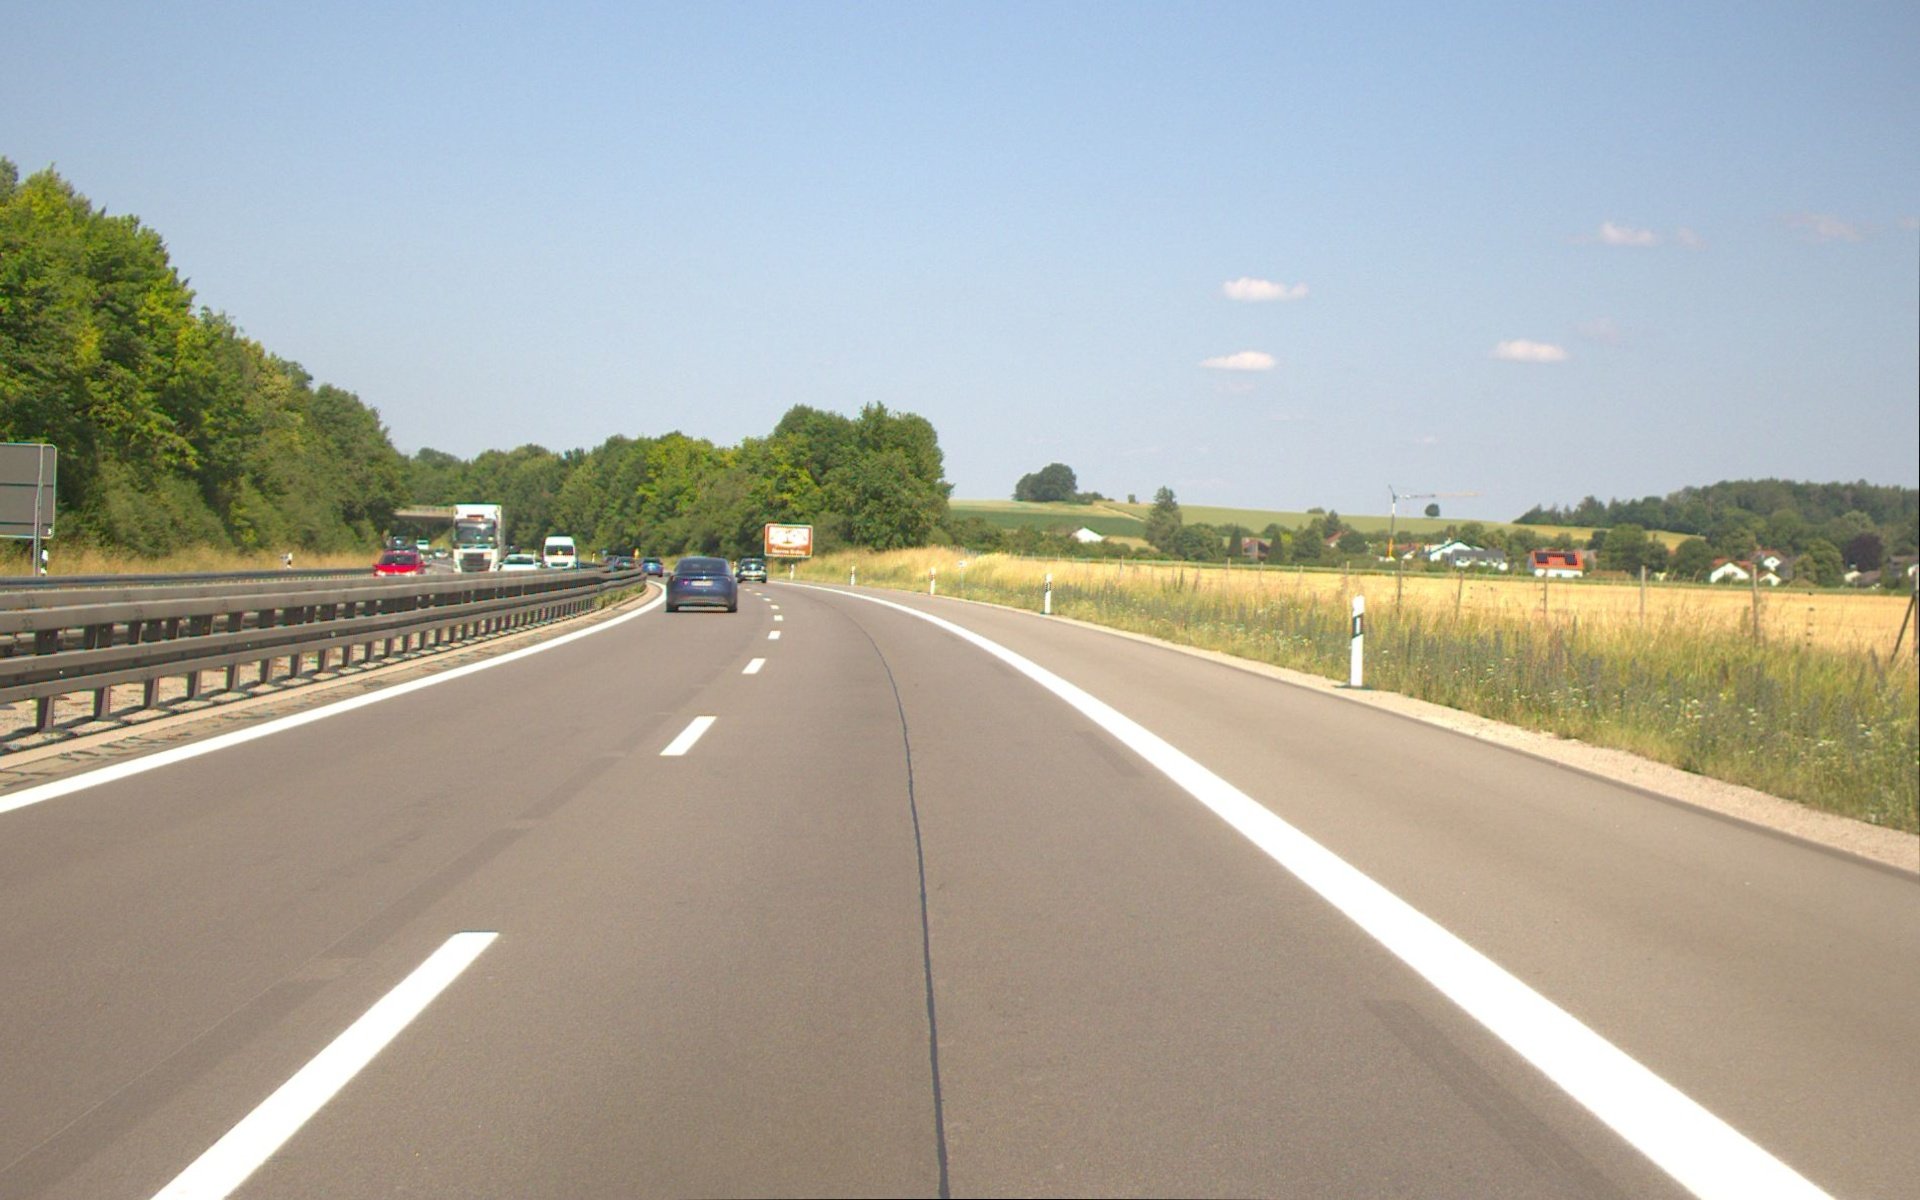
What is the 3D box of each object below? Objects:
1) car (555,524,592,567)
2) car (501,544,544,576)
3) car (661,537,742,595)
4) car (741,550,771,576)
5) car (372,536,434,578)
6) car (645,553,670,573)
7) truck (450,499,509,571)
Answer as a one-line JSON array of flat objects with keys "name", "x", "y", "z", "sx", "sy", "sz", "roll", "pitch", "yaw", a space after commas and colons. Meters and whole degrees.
[{"name": "car", "x": -23.771, "y": -3.344, "z": 211.454, "sx": 2.088, "sy": 2.585, "sz": 5.815, "roll": 1, "pitch": 1, "yaw": -5}, {"name": "car", "x": -21.135, "y": -1.951, "z": 166.221, "sx": 1.685, "sy": 1.478, "sz": 4.978, "roll": 1, "pitch": 1, "yaw": -3}, {"name": "car", "x": -6.828, "y": -0.928, "z": 91.263, "sx": 1.847, "sy": 1.428, "sz": 5.866, "roll": 1, "pitch": 1, "yaw": -2}, {"name": "car", "x": -11.819, "y": -2.158, "z": 199.288, "sx": 1.676, "sy": 1.448, "sz": 3.592, "roll": 1, "pitch": 1, "yaw": -4}, {"name": "car", "x": -19.832, "y": -1.536, "z": 122.470, "sx": 1.672, "sy": 1.432, "sz": 4.142, "roll": 1, "pitch": 1, "yaw": -3}, {"name": "car", "x": -22.262, "y": -2.733, "z": 253.028, "sx": 1.676, "sy": 1.448, "sz": 3.592, "roll": 1, "pitch": 1, "yaw": -3}, {"name": "truck", "x": -25.959, "y": -3.518, "z": 186.091, "sx": 2.745, "sy": 3.816, "sz": 5.913, "roll": 1, "pitch": 1, "yaw": -5}]
